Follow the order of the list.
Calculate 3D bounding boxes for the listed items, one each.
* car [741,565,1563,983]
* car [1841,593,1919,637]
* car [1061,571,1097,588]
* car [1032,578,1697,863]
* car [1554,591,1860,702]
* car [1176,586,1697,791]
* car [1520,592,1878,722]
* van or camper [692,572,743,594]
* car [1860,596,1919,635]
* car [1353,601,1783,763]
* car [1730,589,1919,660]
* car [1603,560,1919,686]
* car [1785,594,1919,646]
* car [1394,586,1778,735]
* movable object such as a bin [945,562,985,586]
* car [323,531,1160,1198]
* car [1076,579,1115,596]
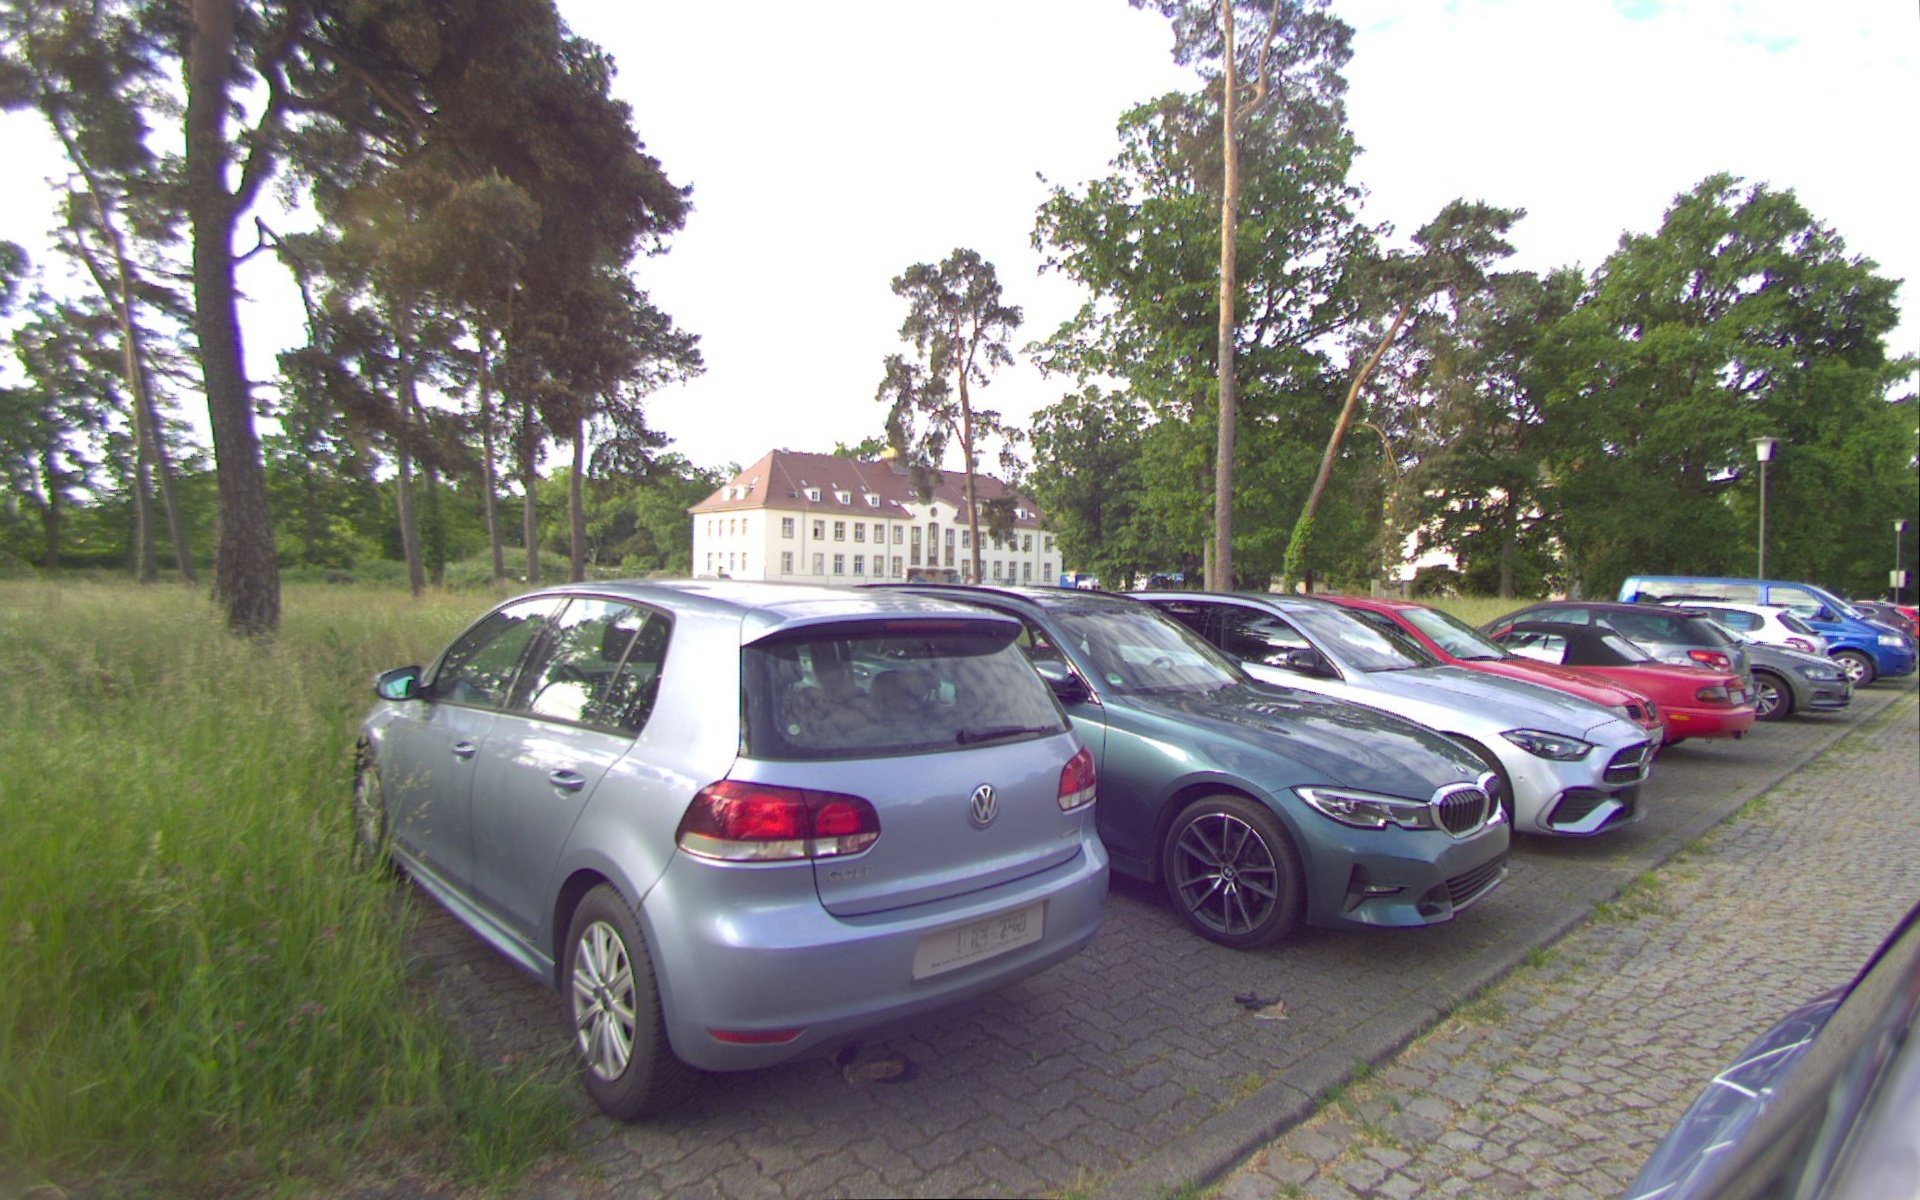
[{"bbox_3d":[0.720,0.575,5.913,1.778,1.502,4.516,0,1,-44],"label":"car"},{"bbox_3d":[37.282,0.602,39.707,1.552,1.638,3.839,0,1,-37],"label":"car"},{"bbox_3d":[14.592,-2.516,123.983,3.926,2.039,2.219,0,1,-37],"label":"car"},{"bbox_3d":[2.729,0.616,7.651,1.737,1.446,4.331,0,2,-43],"label":"car"},{"bbox_3d":[12.046,0.657,16.517,1.553,1.517,3.760,0,1,-40],"label":"car"},{"bbox_3d":[4.234,0.628,9.532,1.690,1.441,4.115,0,1,-41],"label":"car"},{"bbox_3d":[10.217,0.678,14.212,1.614,1.484,3.780,0,1,-40],"label":"car"},{"bbox_3d":[-25.193,-1.780,105.005,6.059,2.251,1.970,2,1,41],"label":"van or camper"},{"bbox_3d":[40.798,0.673,42.811,1.643,1.548,3.839,0,1,-37],"label":"car"},{"bbox_3d":[6.203,0.728,10.617,1.580,1.303,3.553,2,0,-41],"label":"car"},{"bbox_3d":[22.208,0.585,25.900,3.829,1.621,1.556,2,1,45],"label":"car"},{"bbox_3d":[15.977,0.337,20.128,2.024,2.047,4.952,0,3,-41],"label":"car"},{"bbox_3d":[29.502,0.625,33.072,3.829,1.544,1.556,2,1,45],"label":"car"},{"bbox_3d":[7.738,0.628,12.778,1.577,1.522,3.833,0,1,-42],"label":"car"},{"bbox_3d":[0.657,-3.109,122.887,1.993,2.802,5.124,2,1,42],"label":"movable object such as a bin"},{"bbox_3d":[-1.245,0.543,4.210,1.615,1.489,3.845,0,1,-44],"label":"car"},{"bbox_3d":[14.113,-1.291,105.277,3.866,1.704,1.847,0,3,-40],"label":"car"}]
